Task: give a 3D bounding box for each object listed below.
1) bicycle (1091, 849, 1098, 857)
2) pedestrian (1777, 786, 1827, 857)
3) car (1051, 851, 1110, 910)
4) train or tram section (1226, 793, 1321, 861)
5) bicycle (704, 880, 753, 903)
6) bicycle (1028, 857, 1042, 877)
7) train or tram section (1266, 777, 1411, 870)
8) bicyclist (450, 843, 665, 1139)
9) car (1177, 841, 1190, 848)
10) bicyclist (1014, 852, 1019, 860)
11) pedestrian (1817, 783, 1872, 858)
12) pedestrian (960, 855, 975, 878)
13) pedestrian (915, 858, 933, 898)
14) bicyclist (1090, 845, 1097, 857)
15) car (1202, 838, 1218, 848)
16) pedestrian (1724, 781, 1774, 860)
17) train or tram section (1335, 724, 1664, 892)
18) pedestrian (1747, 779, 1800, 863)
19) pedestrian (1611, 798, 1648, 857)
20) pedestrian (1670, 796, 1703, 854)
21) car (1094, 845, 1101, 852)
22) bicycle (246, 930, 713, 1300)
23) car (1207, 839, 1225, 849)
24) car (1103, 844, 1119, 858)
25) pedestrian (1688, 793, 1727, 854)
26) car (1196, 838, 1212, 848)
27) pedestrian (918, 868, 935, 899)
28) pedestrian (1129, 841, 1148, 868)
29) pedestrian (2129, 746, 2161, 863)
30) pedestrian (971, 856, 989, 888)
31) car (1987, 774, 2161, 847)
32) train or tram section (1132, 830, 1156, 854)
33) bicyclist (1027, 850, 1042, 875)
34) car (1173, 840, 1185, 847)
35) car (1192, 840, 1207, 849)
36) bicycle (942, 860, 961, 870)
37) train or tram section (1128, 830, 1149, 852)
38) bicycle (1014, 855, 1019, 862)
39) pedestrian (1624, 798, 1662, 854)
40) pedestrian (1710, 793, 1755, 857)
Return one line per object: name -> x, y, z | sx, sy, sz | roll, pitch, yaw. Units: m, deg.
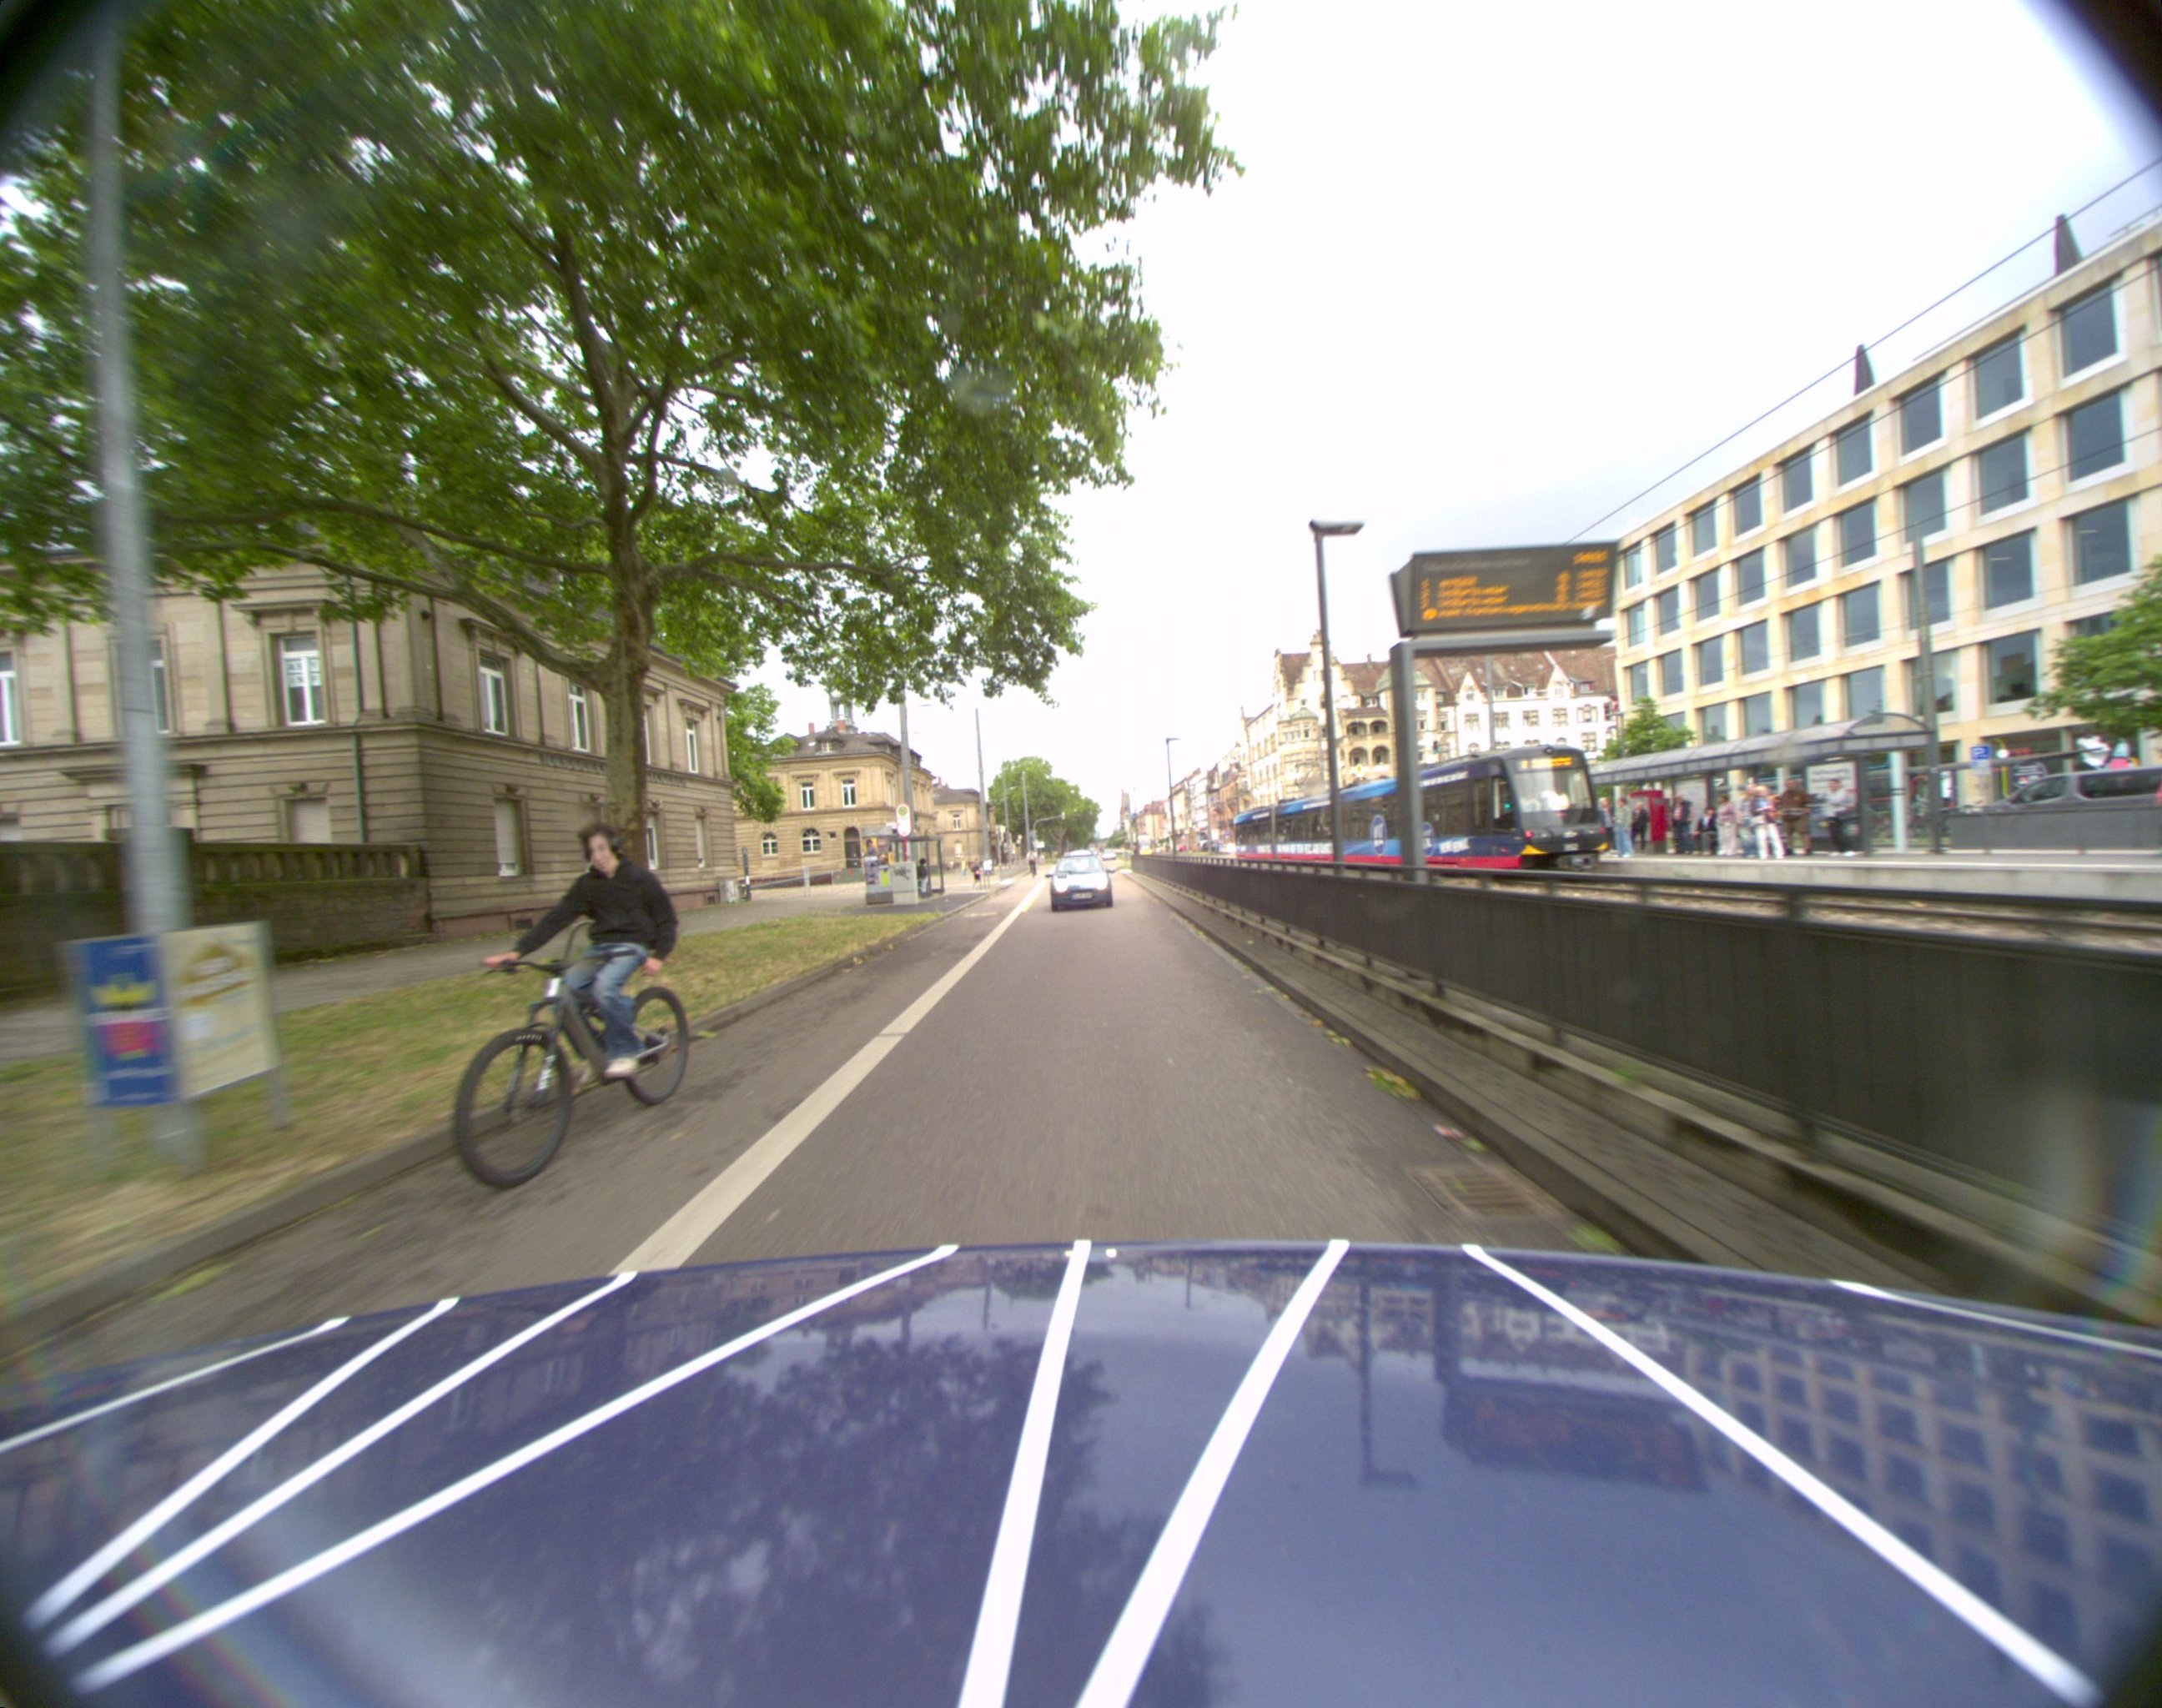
bicycle -> 1.726, -0.084, 100.296 | 0.812, 0.939, 2.147 | -4, -1, -1
pedestrian -> 16.650, -0.741, 17.558 | 0.589, 1.579, 0.596 | -4, 2, -18
car -> 0.039, 0.697, 22.113 | 1.534, 1.464, 3.353 | -3, 1, 2
train or tram section -> 11.893, -1.623, 48.435 | 2.862, 3.620, 11.762 | -4, 1, 0
bicycle -> -17.969, 1.910, 38.864 | 0.903, 1.062, 3.407 | -4, -2, -1
bicycle -> -3.035, 0.863, 50.388 | 0.814, 1.163, 2.276 | -4, 1, -1
train or tram section -> 11.886, -1.374, 36.734 | 2.862, 3.620, 11.696 | -4, 1, 0
bicyclist -> -2.932, 0.718, 4.327 | 0.642, 1.522, 0.664 | -4, 2, -1
car -> 23.034, -2.163, 171.053 | 1.999, 1.587, 3.998 | -4, 1, -2
bicyclist -> -10.948, 0.371, 128.669 | 0.694, 1.392, 0.816 | -4, 2, -6
pedestrian -> 16.613, -0.717, 16.539 | 0.589, 1.579, 0.596 | -4, 2, -18
pedestrian -> -8.428, 0.917, 56.430 | 0.720, 1.669, 1.000 | -3, 2, 10
pedestrian -> -6.229, 0.946, 30.161 | 0.477, 1.554, 0.702 | -4, 2, 0
bicyclist -> 1.696, -0.395, 100.360 | 0.812, 1.587, 0.890 | -4, 0, -1
car -> 22.512, -1.893, 132.890 | 1.999, 1.587, 3.998 | -4, 1, -2
pedestrian -> 15.472, -0.760, 17.601 | 0.596, 1.759, 0.588 | -3, 2, 8
train or tram section -> 11.875, -1.196, 24.184 | 2.862, 3.671, 13.517 | -4, 1, 0
pedestrian -> 15.025, -0.709, 16.496 | 0.596, 1.759, 0.588 | -3, 2, 8
pedestrian -> 15.348, -0.739, 21.266 | 0.596, 1.579, 0.588 | -3, 2, 8
pedestrian -> 17.035, -0.821, 21.384 | 0.589, 1.579, 0.596 | -5, 2, -42
car -> 5.569, -1.836, 258.971 | 1.999, 2.002, 3.998 | -4, 1, -1
bicycle -> -2.895, 1.136, 4.111 | 0.654, 1.143, 2.282 | -4, 1, -1
car -> 22.467, -1.682, 126.709 | 1.999, 1.434, 3.998 | -4, 1, -2
car -> 4.084, -0.419, 103.887 | 1.869, 1.631, 3.774 | -4, 1, -1
pedestrian -> 16.876, -0.817, 20.480 | 0.589, 1.579, 0.596 | -4, 2, -28
car -> 22.591, -2.035, 139.400 | 1.999, 1.587, 3.998 | -4, 1, -2
pedestrian -> -6.377, 1.203, 31.345 | 0.477, 1.227, 0.702 | -4, 2, 0
pedestrian -> 3.565, 0.016, 47.185 | 0.862, 1.633, 0.651 | -5, 2, -41
pedestrian -> 17.443, -0.802, 12.015 | 0.700, 1.844, 0.721 | -3, 2, 8
pedestrian -> -4.861, 0.867, 36.610 | 0.552, 1.520, 0.639 | -3, 2, 18
car -> 25.466, -1.079, 18.540 | 1.998, 1.652, 4.000 | -3, 1, 3
train or tram section -> 9.665, -1.916, 117.645 | 2.651, 3.418, 13.616 | -4, 1, 1
bicyclist -> -3.050, 0.546, 50.216 | 0.812, 1.591, 1.189 | -4, 2, -1
car -> 22.845, -2.458, 177.461 | 1.999, 1.587, 3.998 | -4, 1, -2
car -> 22.716, -1.747, 146.079 | 1.999, 1.587, 3.998 | -4, 1, -2
bicycle -> -13.618, 1.138, 79.768 | 1.859, 1.072, 0.546 | -1, 1, -18
train or tram section -> 9.854, -2.220, 131.227 | 2.651, 3.418, 13.616 | -4, 1, 1
bicycle -> -10.929, 0.803, 128.649 | 0.677, 1.158, 2.112 | -4, 1, -8
pedestrian -> 16.347, -0.793, 22.104 | 0.589, 1.579, 0.596 | -4, 2, -18
pedestrian -> 16.601, -0.738, 19.367 | 0.589, 1.579, 0.596 | -4, 2, -18
